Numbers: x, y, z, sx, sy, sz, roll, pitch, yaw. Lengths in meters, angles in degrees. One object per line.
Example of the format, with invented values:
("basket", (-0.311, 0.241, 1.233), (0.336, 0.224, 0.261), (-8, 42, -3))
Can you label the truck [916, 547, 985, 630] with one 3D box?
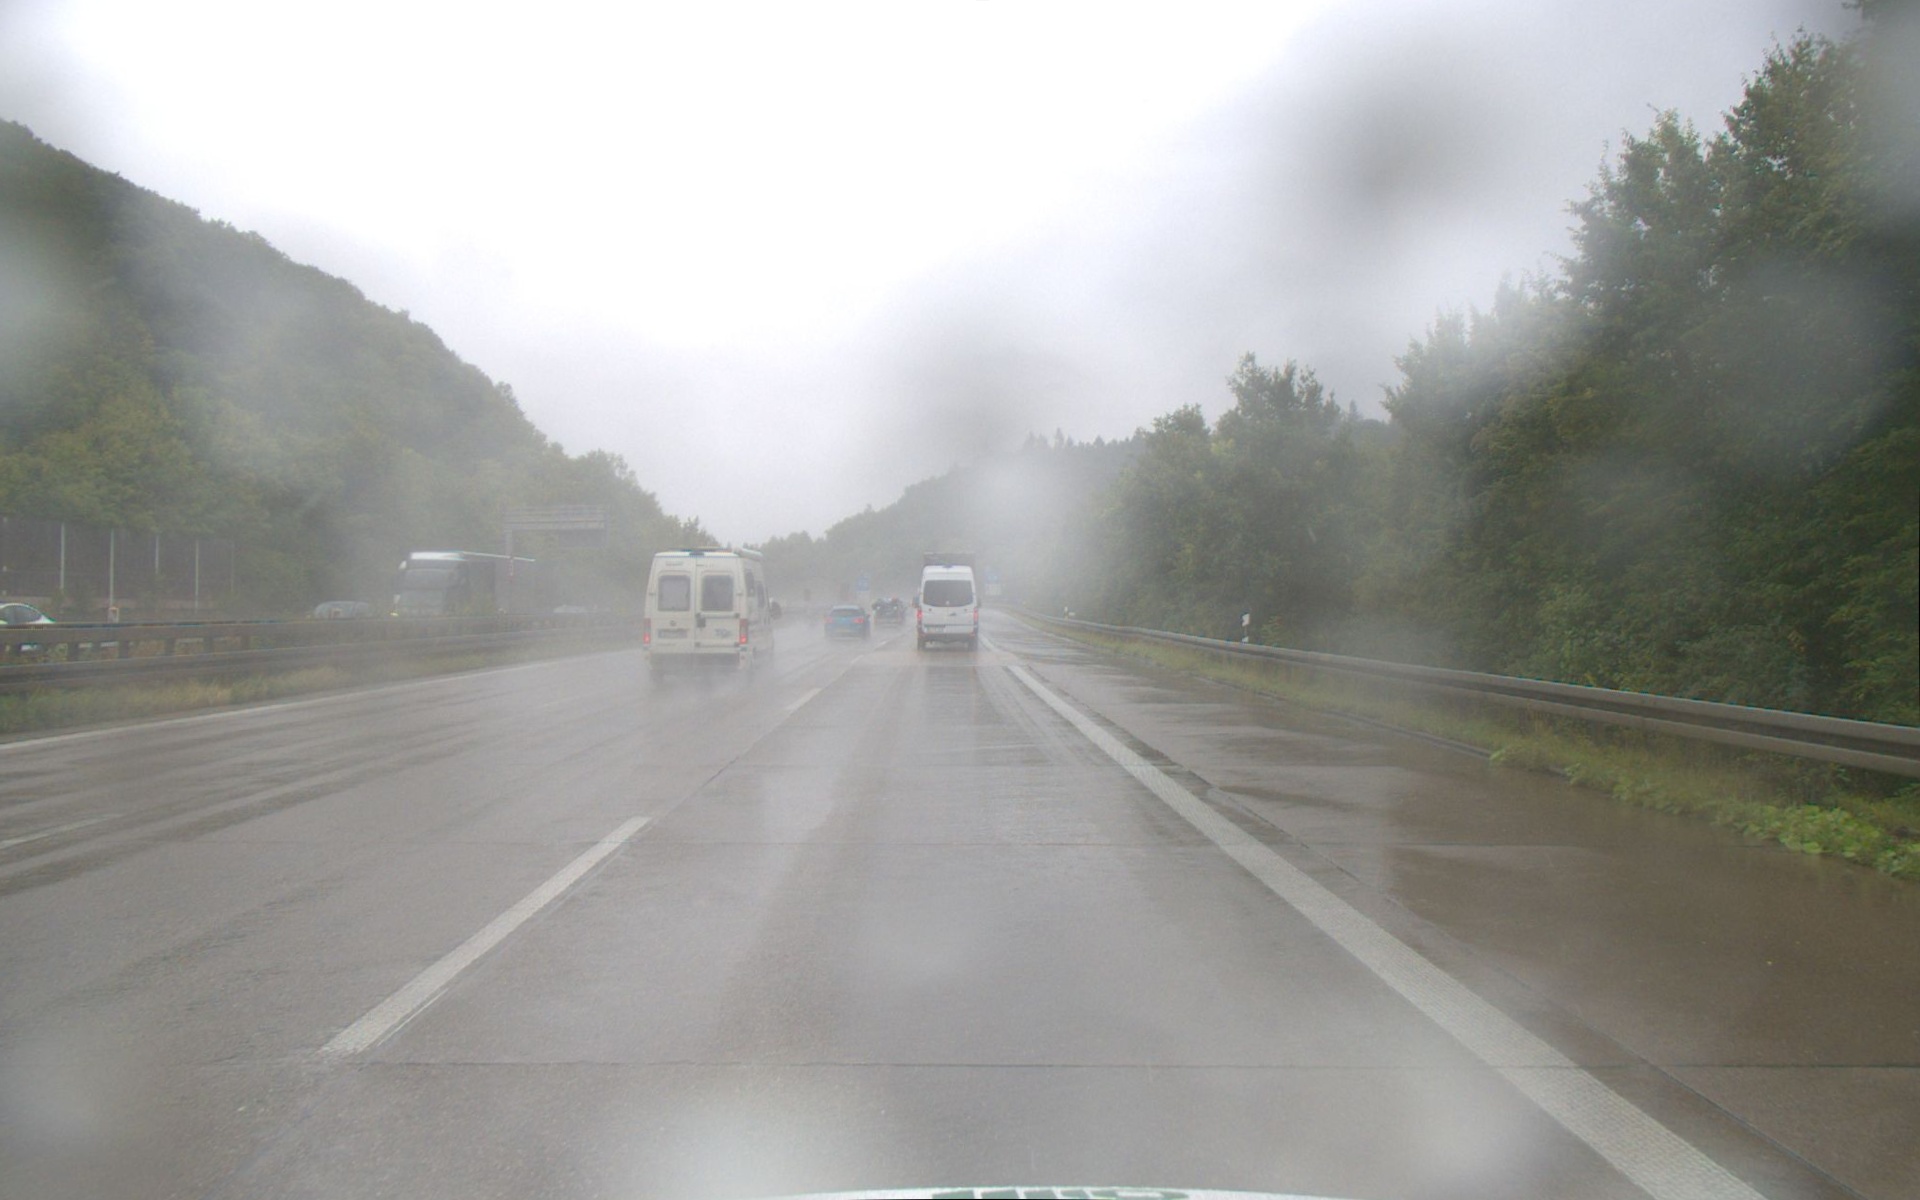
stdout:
("truck", (-0.530, -0.690, 84.726), (3.316, 4.037, 8.666), (0, 2, -1))

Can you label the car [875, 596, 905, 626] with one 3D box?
("car", (-4.435, 0.671, 105.010), (1.831, 1.841, 4.187), (2, 0, -2))

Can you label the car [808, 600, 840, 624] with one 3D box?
("car", (-8.405, 0.727, 102.412), (1.819, 1.362, 4.348), (2, 0, -3))

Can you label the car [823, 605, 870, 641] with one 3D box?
("car", (-4.681, 0.914, 68.366), (1.819, 1.362, 4.348), (2, 0, -4))

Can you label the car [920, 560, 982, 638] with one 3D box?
("car", (-0.339, -0.045, 53.999), (1.861, 2.374, 5.248), (2, 0, -2))

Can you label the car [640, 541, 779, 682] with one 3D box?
("car", (-4.803, 0.212, 32.567), (1.957, 2.474, 5.788), (2, 0, -2))

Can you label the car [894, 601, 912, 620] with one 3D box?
("car", (-5.257, 0.970, 152.161), (1.582, 1.656, 4.187), (2, 0, -2))

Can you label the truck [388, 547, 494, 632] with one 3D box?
("truck", (-25.234, -0.478, 80.832), (2.718, 3.868, 7.679), (2, 0, 0))

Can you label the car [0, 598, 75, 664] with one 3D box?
("car", (-21.459, 0.657, 36.335), (1.717, 1.362, 4.423), (2, 0, -2))
